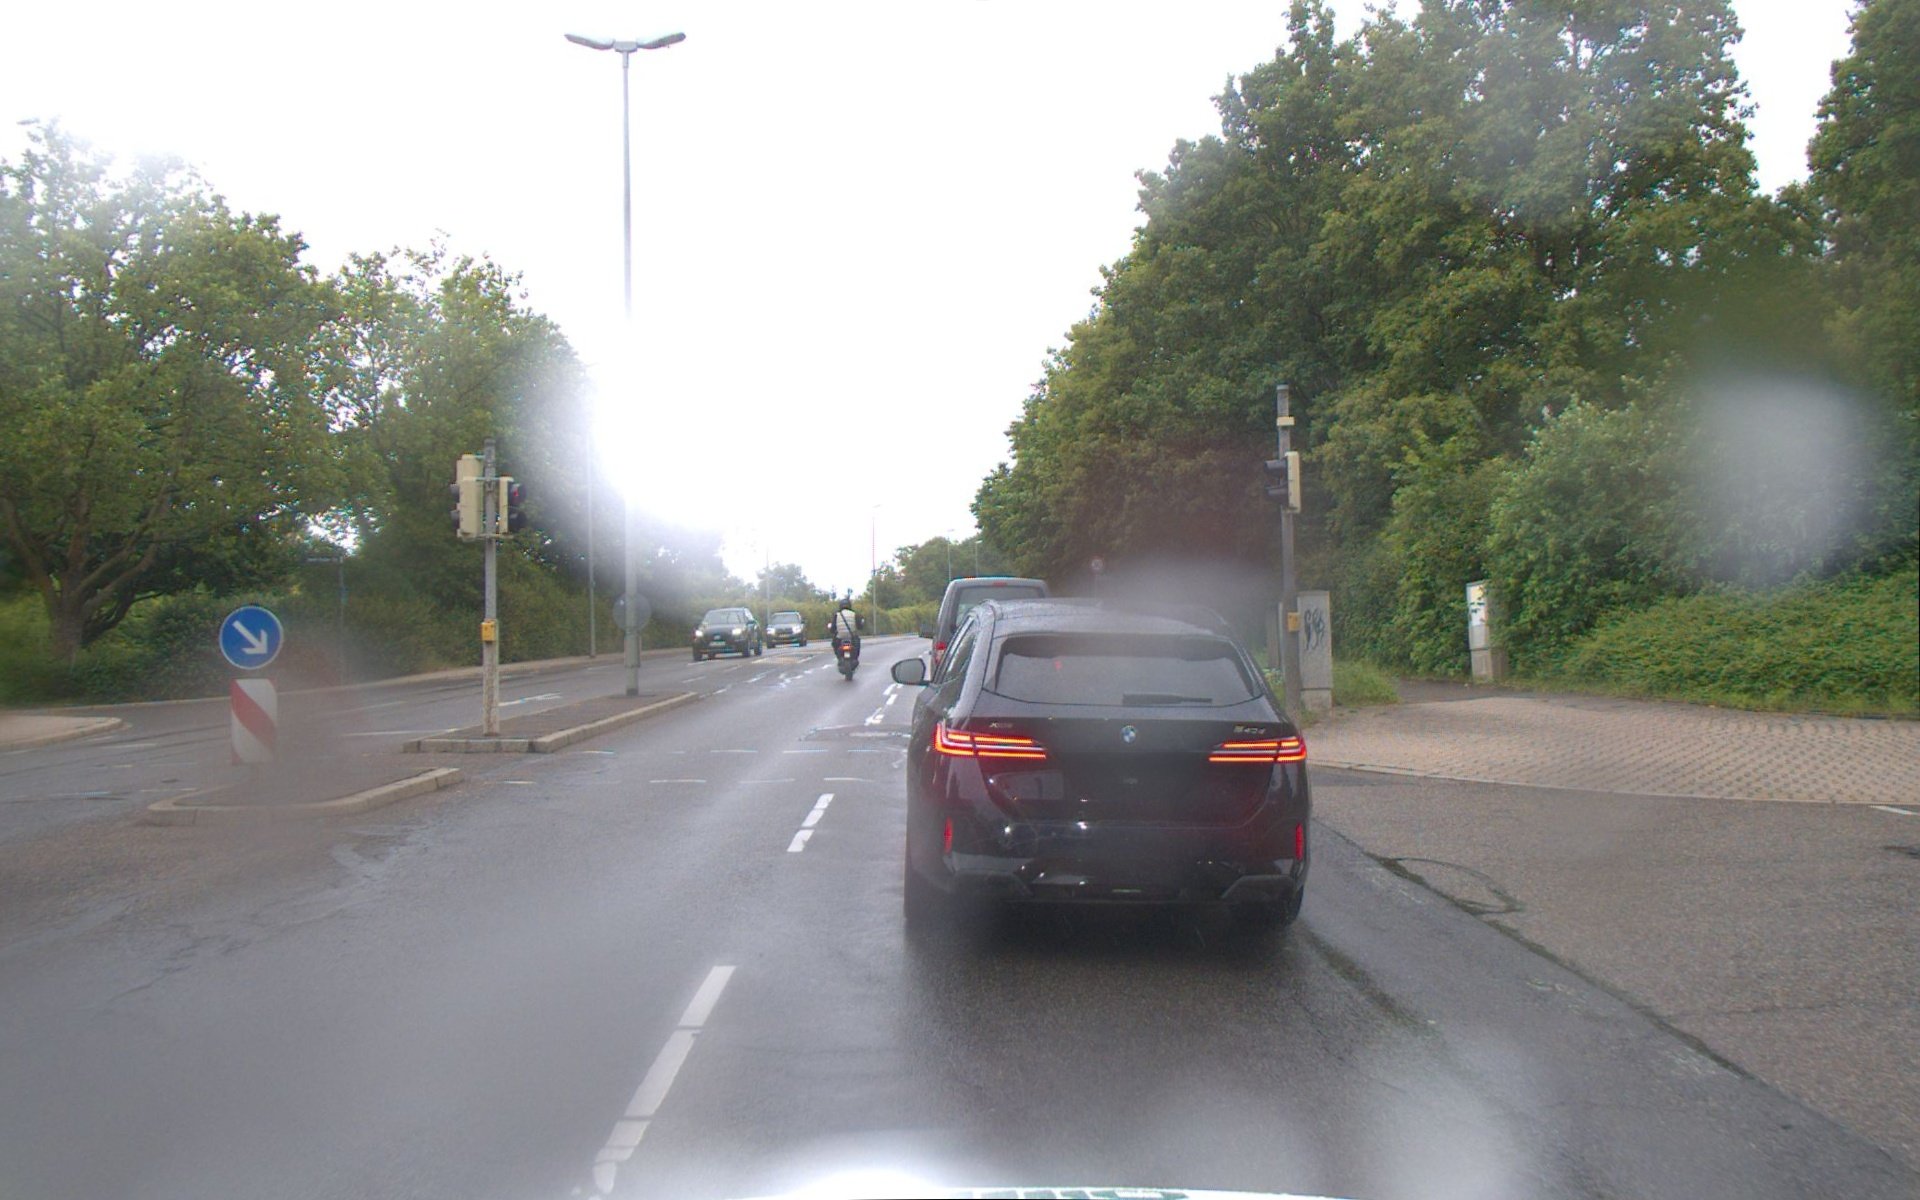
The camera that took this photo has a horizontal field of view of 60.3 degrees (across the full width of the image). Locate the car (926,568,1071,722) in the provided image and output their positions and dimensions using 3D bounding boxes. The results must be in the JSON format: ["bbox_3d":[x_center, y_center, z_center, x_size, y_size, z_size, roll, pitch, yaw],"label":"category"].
[{"bbox_3d":[0.487,0.514,21.948,1.730,1.841,3.906,-1,1,1],"label":"car"}]

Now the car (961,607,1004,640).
[{"bbox_3d":[1.063,1.113,79.517,1.973,1.440,4.487,-1,1,1],"label":"car"}]

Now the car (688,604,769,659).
[{"bbox_3d":[-7.331,0.965,52.779,1.984,1.590,3.876,-3,0,0],"label":"car"}]

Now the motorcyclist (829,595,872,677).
[{"bbox_3d":[-2.290,0.751,34.523,0.828,1.676,0.468,-1,0,0],"label":"motorcyclist"}]

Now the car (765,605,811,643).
[{"bbox_3d":[-7.979,1.088,76.863,1.759,1.631,3.731,-3,0,-1],"label":"car"}]

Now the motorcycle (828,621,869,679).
[{"bbox_3d":[-2.318,1.032,34.461,0.726,1.139,1.426,0,1,1],"label":"motorcycle"}]

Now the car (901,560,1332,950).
[{"bbox_3d":[0.652,0.631,8.540,1.728,1.563,3.673,-1,0,1],"label":"car"}]
